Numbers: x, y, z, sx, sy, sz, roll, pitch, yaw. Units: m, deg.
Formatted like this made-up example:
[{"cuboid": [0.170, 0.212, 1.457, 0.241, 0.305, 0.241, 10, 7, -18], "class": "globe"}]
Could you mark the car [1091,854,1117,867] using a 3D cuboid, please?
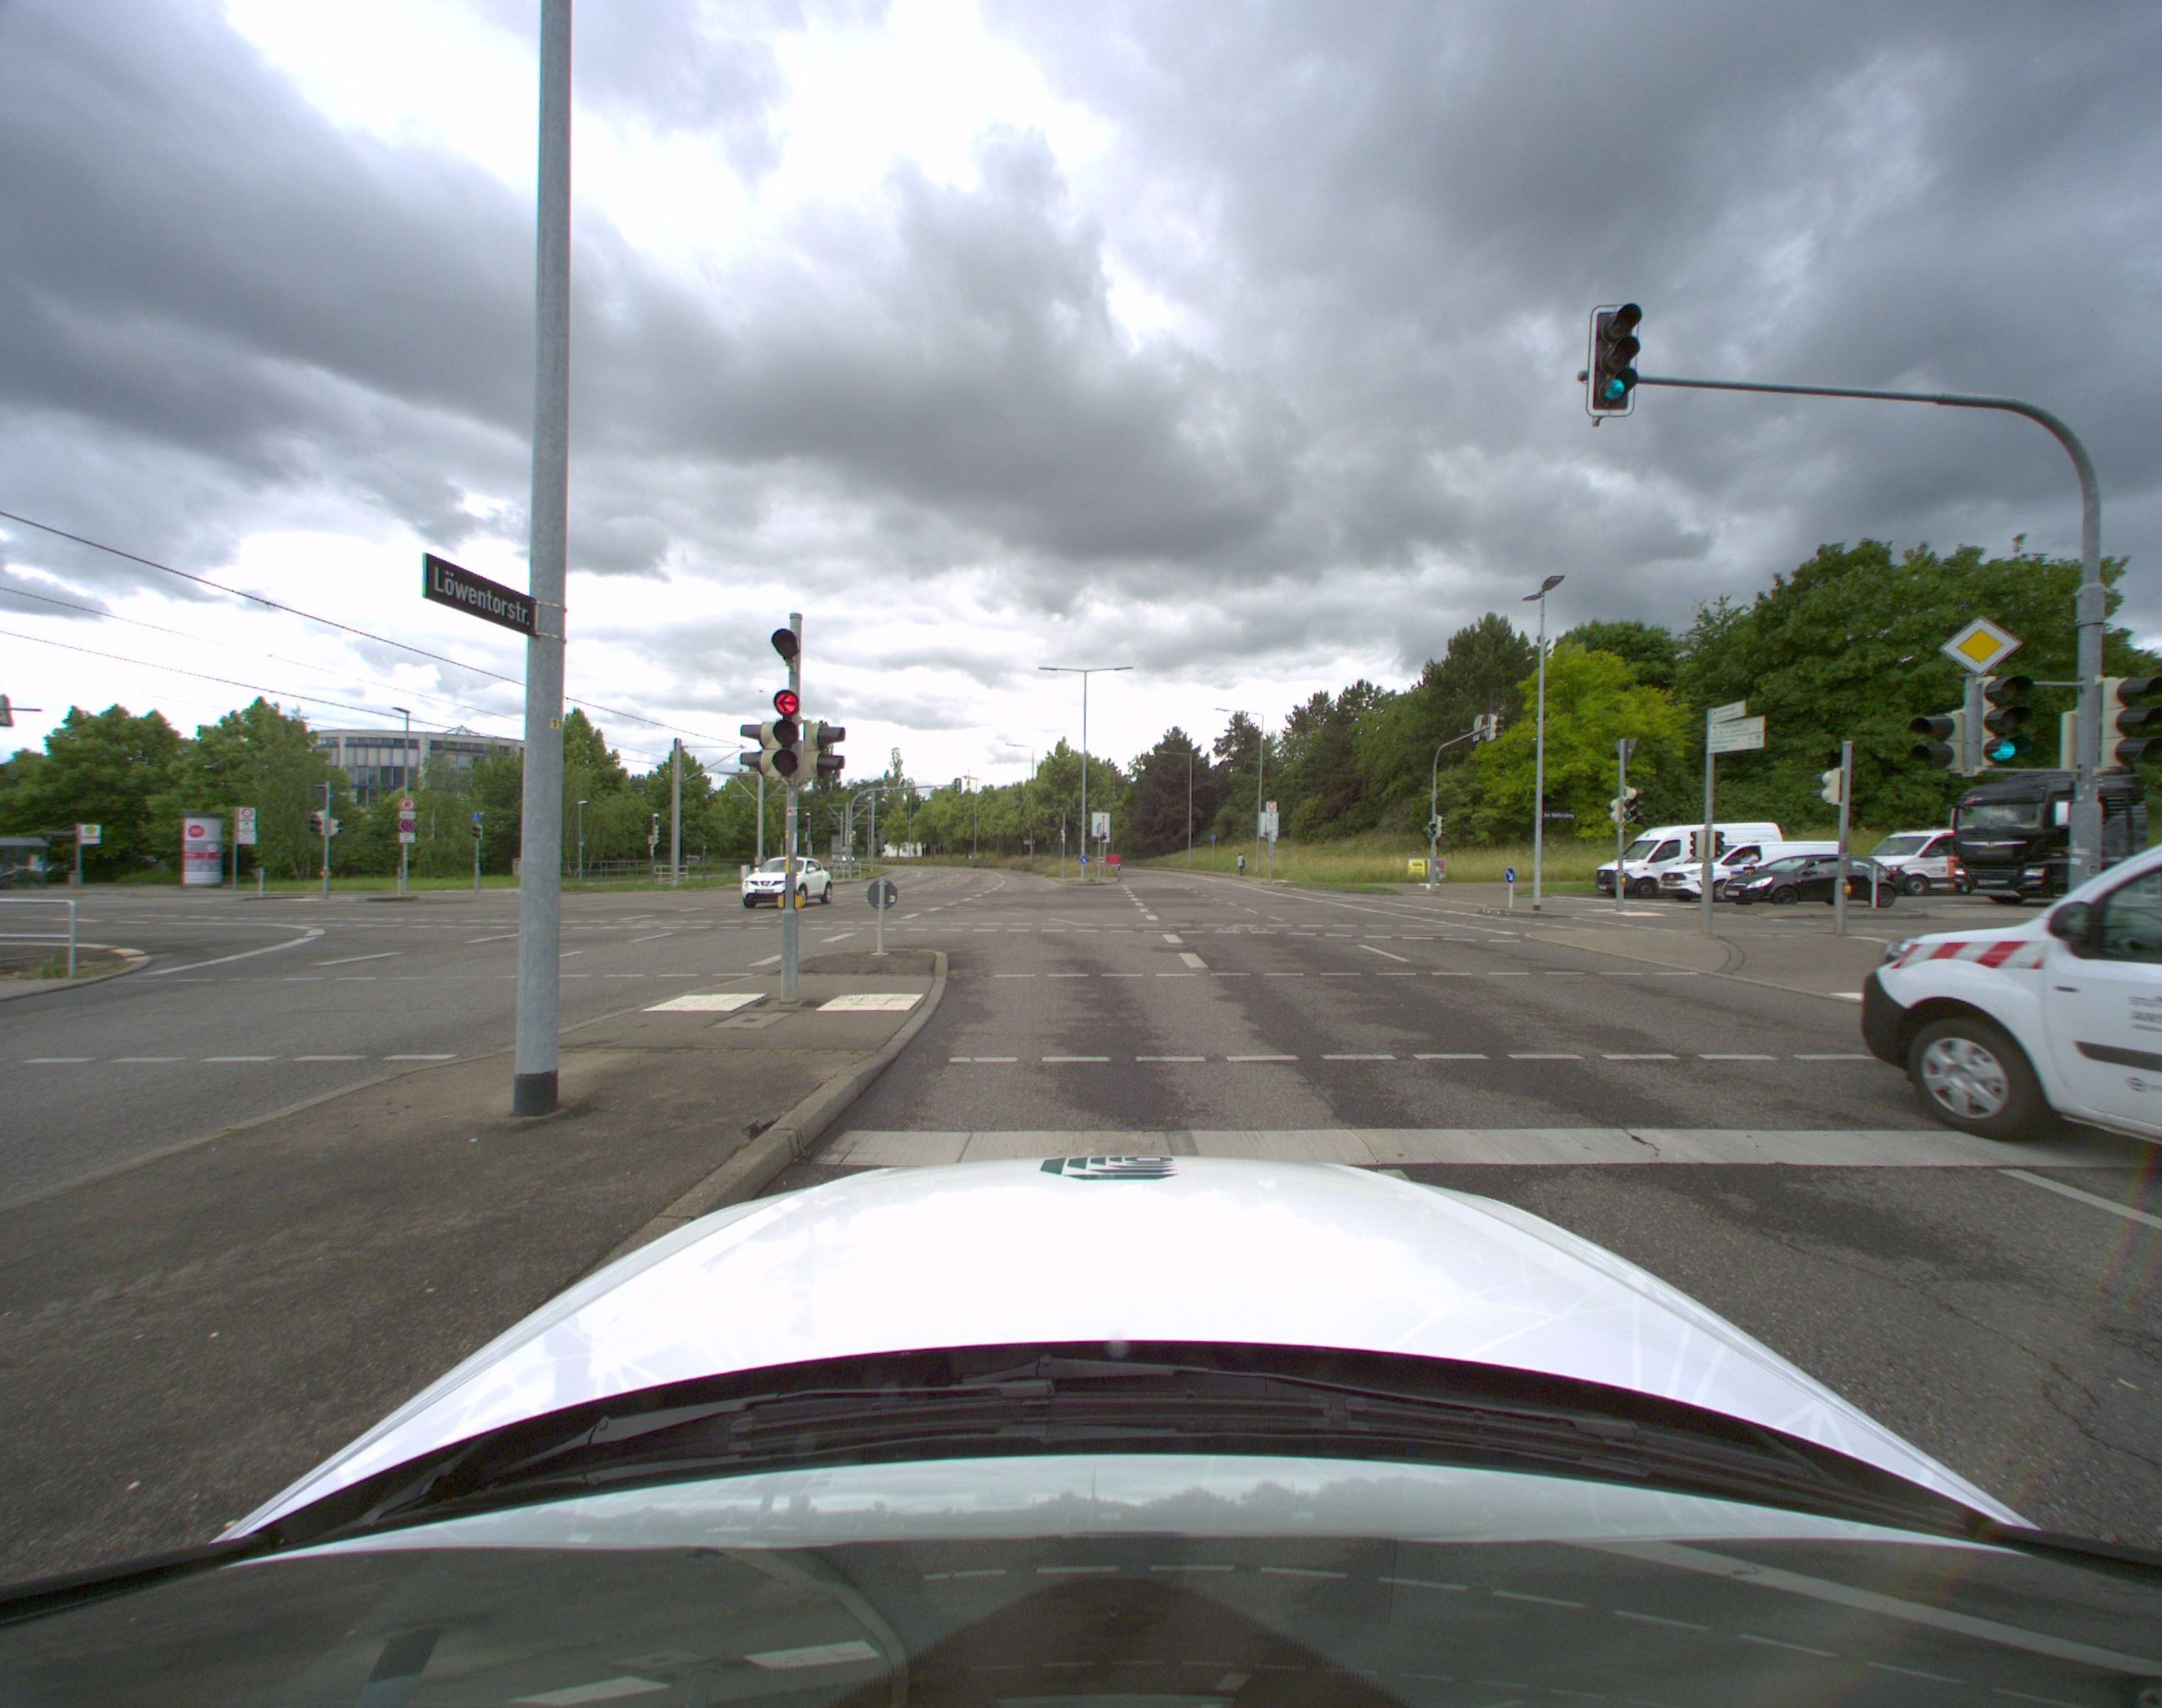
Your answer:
[{"cuboid": [2.528, 0.704, 90.510, 1.781, 1.421, 4.435, -1, 0, -15], "class": "car"}]

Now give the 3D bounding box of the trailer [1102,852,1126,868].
[{"cuboid": [3.501, 0.631, 86.917, 1.768, 1.616, 3.028, -1, 0, -15], "class": "trailer"}]

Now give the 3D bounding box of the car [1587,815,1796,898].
[{"cuboid": [21.898, 0.093, 29.414, 5.870, 2.781, 2.136, -1, 0, 2], "class": "car"}]

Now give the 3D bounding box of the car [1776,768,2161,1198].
[{"cuboid": [5.497, 0.521, 2.924, 1.986, 1.802, 4.841, -1, -1, 2], "class": "car"}]

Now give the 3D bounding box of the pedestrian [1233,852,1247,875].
[{"cuboid": [11.373, 0.695, 58.246, 0.811, 1.627, 0.791, 0, 0, 1], "class": "pedestrian"}]

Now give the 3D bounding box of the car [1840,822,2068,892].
[{"cuboid": [30.683, 0.107, 28.768, 5.677, 2.289, 2.136, -1, 0, 2], "class": "car"}]

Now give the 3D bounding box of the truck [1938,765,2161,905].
[{"cuboid": [27.934, -0.517, 22.274, 6.027, 3.538, 2.729, -1, 0, 2], "class": "truck"}]

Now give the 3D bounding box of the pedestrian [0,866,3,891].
[{"cuboid": [-57.764, 1.297, 43.065, 0.774, 1.303, 0.666, 0, 0, 15], "class": "pedestrian"}]

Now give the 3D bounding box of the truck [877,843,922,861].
[{"cuboid": [-34.200, -0.411, 153.431, 2.764, 3.328, 11.266, -1, 0, -44], "class": "truck"}]

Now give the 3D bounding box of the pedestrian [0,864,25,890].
[{"cuboid": [-56.407, 1.211, 42.909, 0.774, 1.304, 0.666, 0, 0, 15], "class": "pedestrian"}]

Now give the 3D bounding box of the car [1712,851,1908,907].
[{"cuboid": [20.280, 0.667, 22.777, 3.905, 1.436, 1.732, -1, 0, 1], "class": "car"}]

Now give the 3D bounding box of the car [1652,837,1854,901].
[{"cuboid": [21.592, 0.455, 26.334, 4.836, 1.896, 2.034, -1, 0, 1], "class": "car"}]

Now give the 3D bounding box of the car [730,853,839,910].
[{"cuboid": [-9.302, 0.806, 25.980, 1.823, 1.629, 4.425, -1, 0, 0], "class": "car"}]

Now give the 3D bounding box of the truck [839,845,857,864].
[{"cuboid": [-40.171, 0.090, 140.379, 2.126, 3.135, 5.851, 0, -1, -25], "class": "truck"}]
